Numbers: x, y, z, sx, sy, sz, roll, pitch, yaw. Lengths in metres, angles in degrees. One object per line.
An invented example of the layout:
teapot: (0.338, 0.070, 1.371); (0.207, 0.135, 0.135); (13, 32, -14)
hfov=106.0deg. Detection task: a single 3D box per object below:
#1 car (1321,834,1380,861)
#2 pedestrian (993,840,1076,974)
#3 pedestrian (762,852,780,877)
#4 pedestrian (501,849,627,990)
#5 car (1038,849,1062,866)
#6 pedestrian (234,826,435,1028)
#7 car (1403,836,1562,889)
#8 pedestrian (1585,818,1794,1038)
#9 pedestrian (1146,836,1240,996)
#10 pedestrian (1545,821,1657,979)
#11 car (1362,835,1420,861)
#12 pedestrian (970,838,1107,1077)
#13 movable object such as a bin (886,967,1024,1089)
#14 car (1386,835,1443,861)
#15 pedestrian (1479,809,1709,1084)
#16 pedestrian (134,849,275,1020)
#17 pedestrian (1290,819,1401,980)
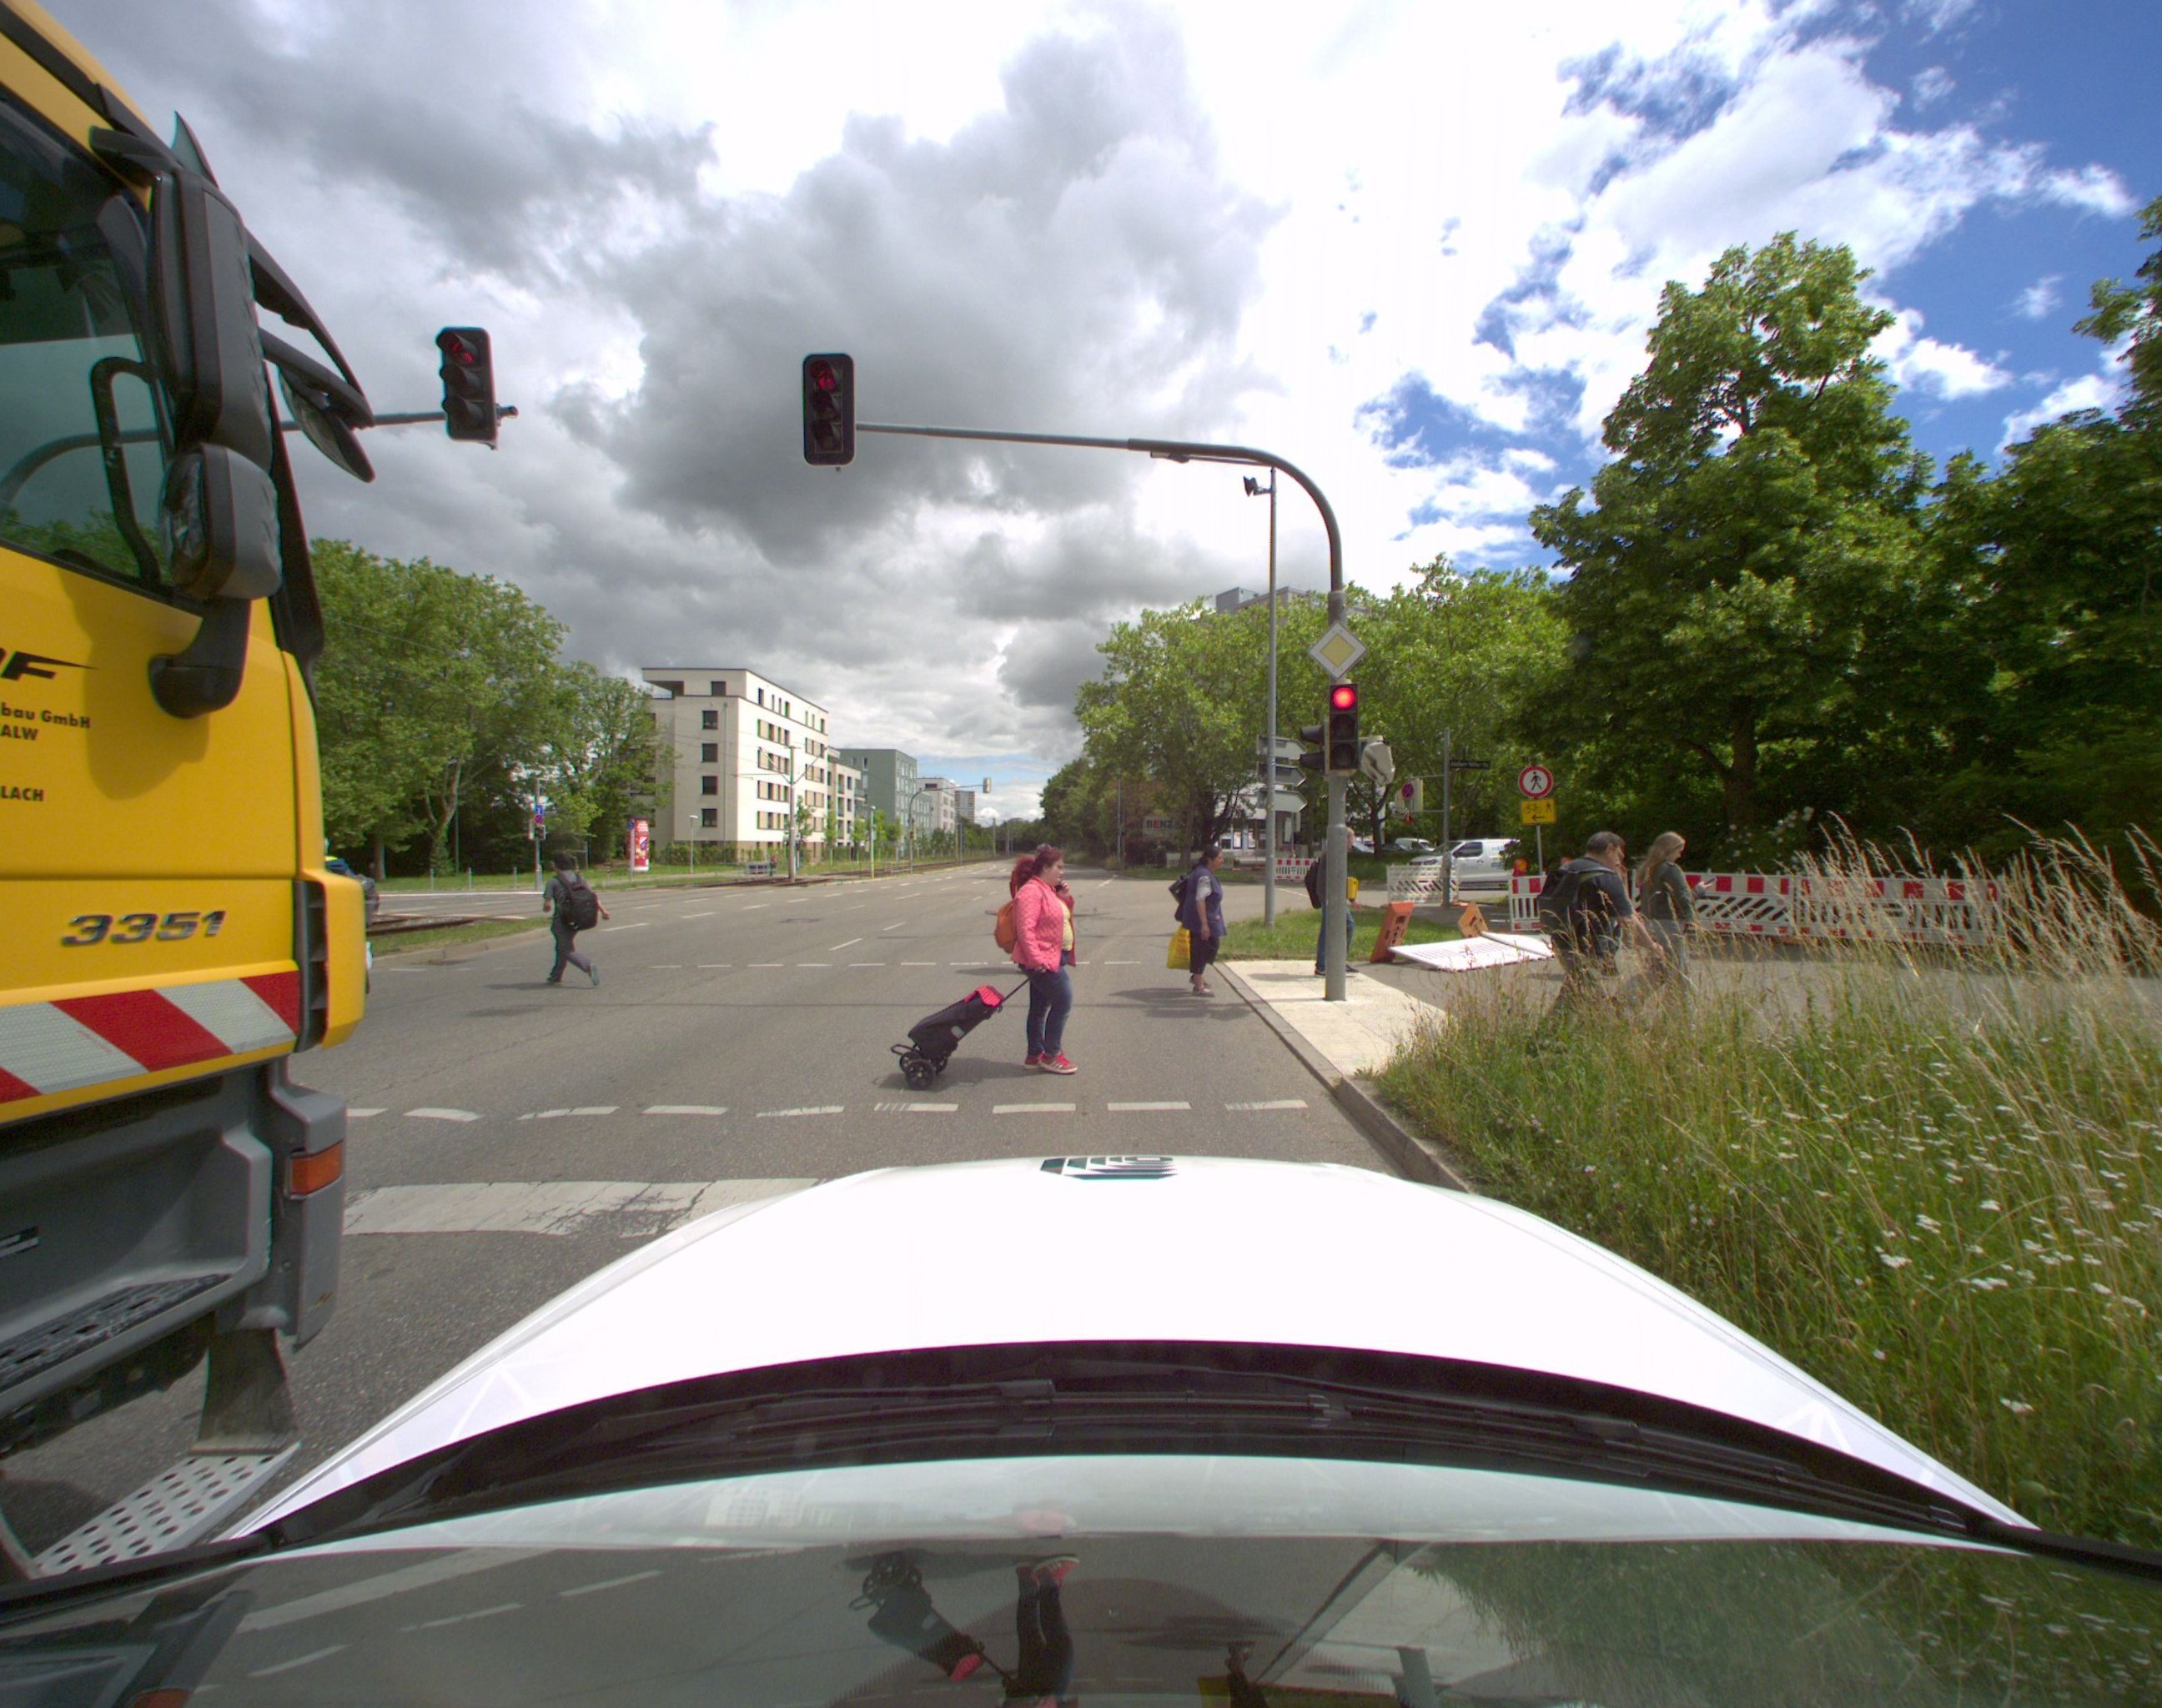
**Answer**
car: (20.572, -0.487, 62.242); (2.006, 2.013, 3.962); (-1, 0, -29)
pedestrian: (-0.561, 0.635, 10.215); (0.888, 1.596, 0.909); (-1, 0, 5)
pedestrian: (-19.592, 0.660, 51.449); (0.827, 1.516, 0.636); (-1, 0, 1)
pedestrian: (-5.962, 0.719, 9.450); (0.945, 1.552, 0.841); (-1, 0, -7)
car: (-2.769, 0.299, 72.466); (1.978, 1.486, 4.485); (-1, 0, -4)
pedestrian: (-7.020, 0.644, 7.725); (1.007, 1.774, 0.947); (-1, 0, -3)
car: (14.923, 0.300, 30.447); (5.063, 1.874, 1.947); (-1, 0, -2)
pedestrian: (4.872, 0.558, 6.610); (1.015, 1.648, 0.931); (-1, 0, 5)
pedestrian: (1.221, 0.624, 8.718); (0.906, 1.607, 0.932); (-1, 0, 13)
pedestrian: (6.011, 0.511, 9.453); (0.779, 1.743, 0.829); (0, 0, 2)
car: (24.603, -0.494, 64.724); (2.006, 2.013, 3.962); (-1, 0, -29)
pedestrian: (-0.268, 0.675, 5.701); (0.877, 1.554, 0.747); (-1, 0, 2)
movable object such as a bin: (-0.836, 1.172, 5.606); (0.792, 0.662, 0.778); (-1, 0, 2)
car: (27.318, -0.498, 66.857); (2.006, 2.013, 3.962); (-1, 0, -29)
pedestrian: (3.303, 0.555, 5.344); (0.955, 1.648, 0.881); (-1, 0, 2)
pedestrian: (-9.021, 0.777, 8.393); (0.860, 1.634, 0.770); (-1, 1, 29)
pedestrian: (3.044, 0.505, 9.484); (0.998, 1.773, 0.930); (-1, 0, 2)
